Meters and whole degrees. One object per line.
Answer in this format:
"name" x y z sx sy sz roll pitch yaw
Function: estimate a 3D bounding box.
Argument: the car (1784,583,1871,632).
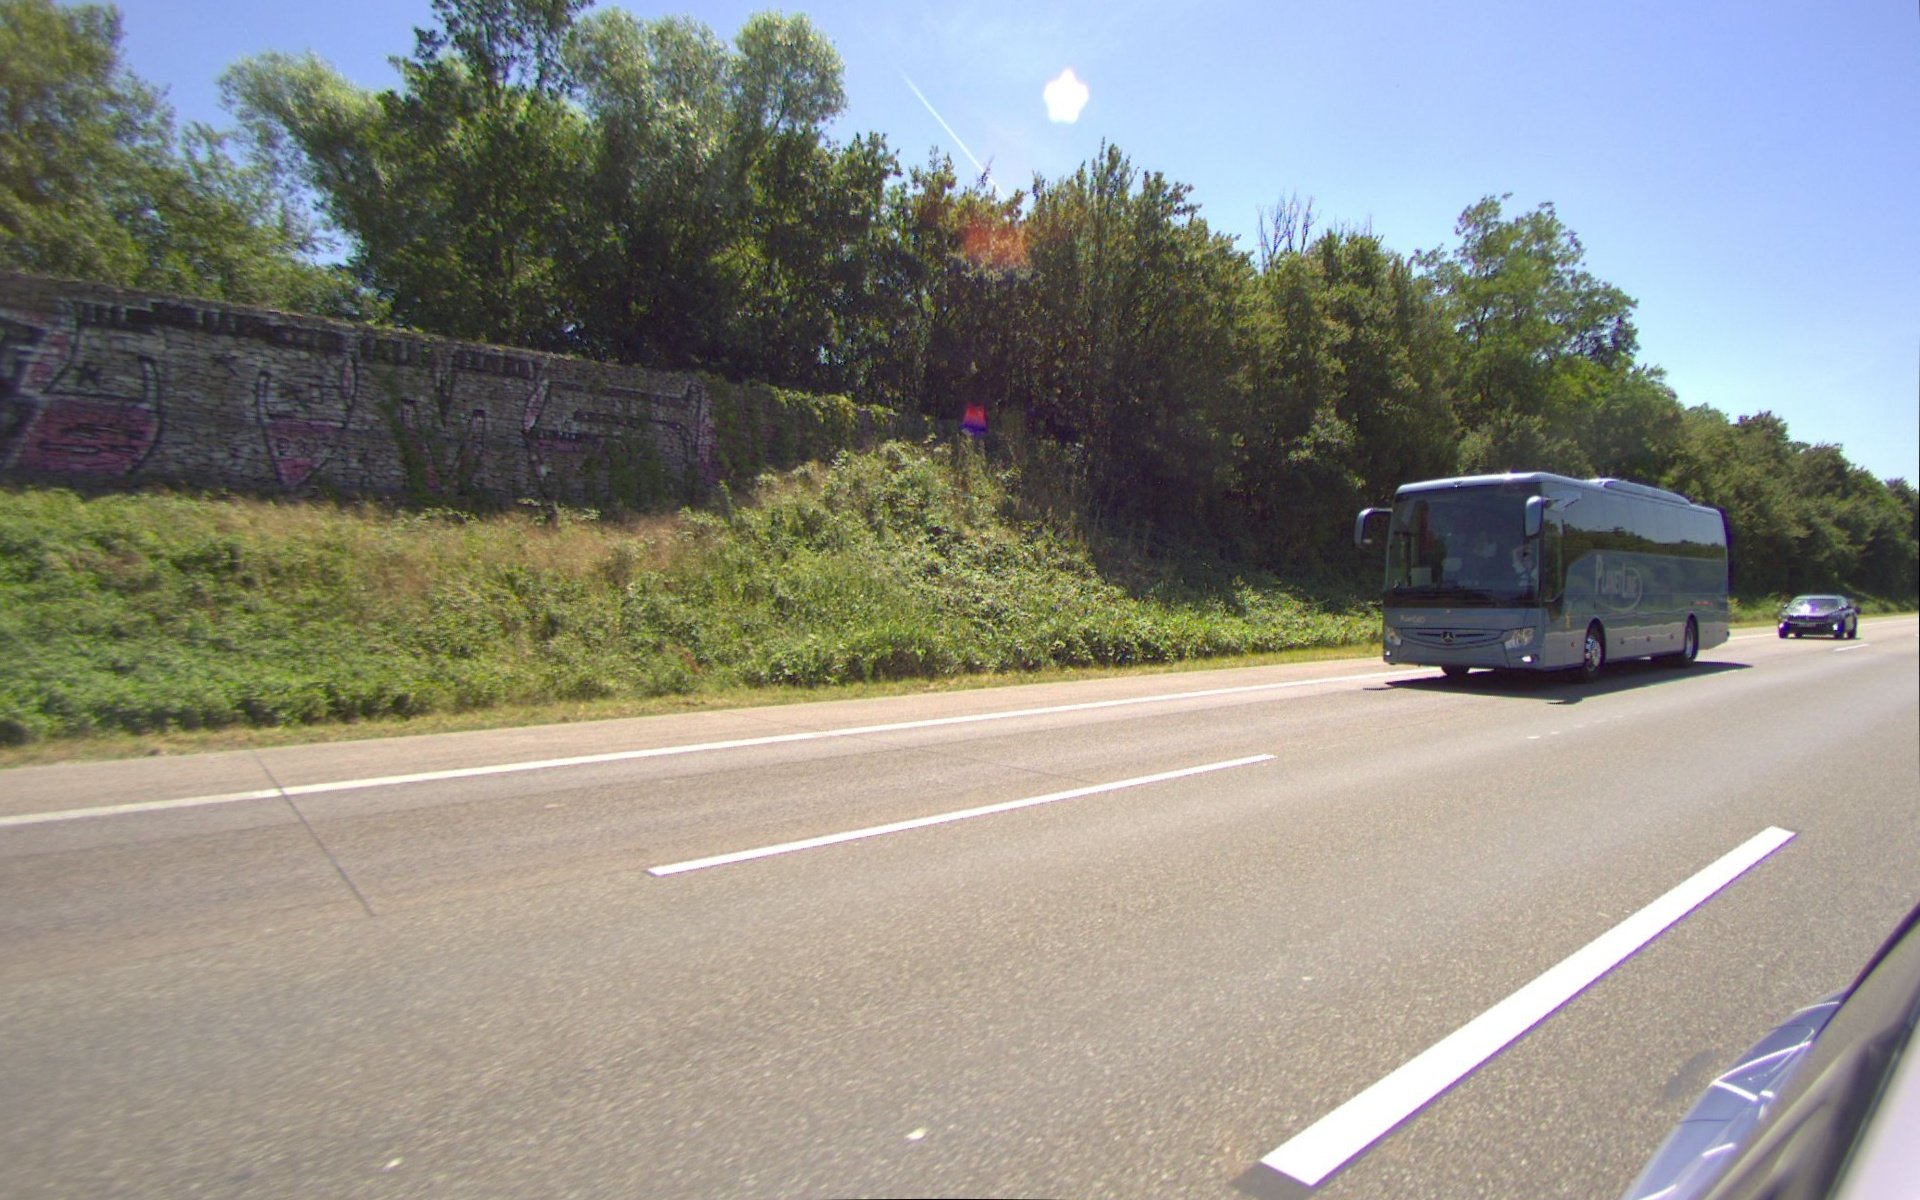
"car" 31.250 0.228 36.432 3.930 1.636 1.813 -1 1 -41

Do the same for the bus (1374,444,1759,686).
"bus" 12.894 -0.610 20.433 13.444 3.597 2.615 -1 0 -41
